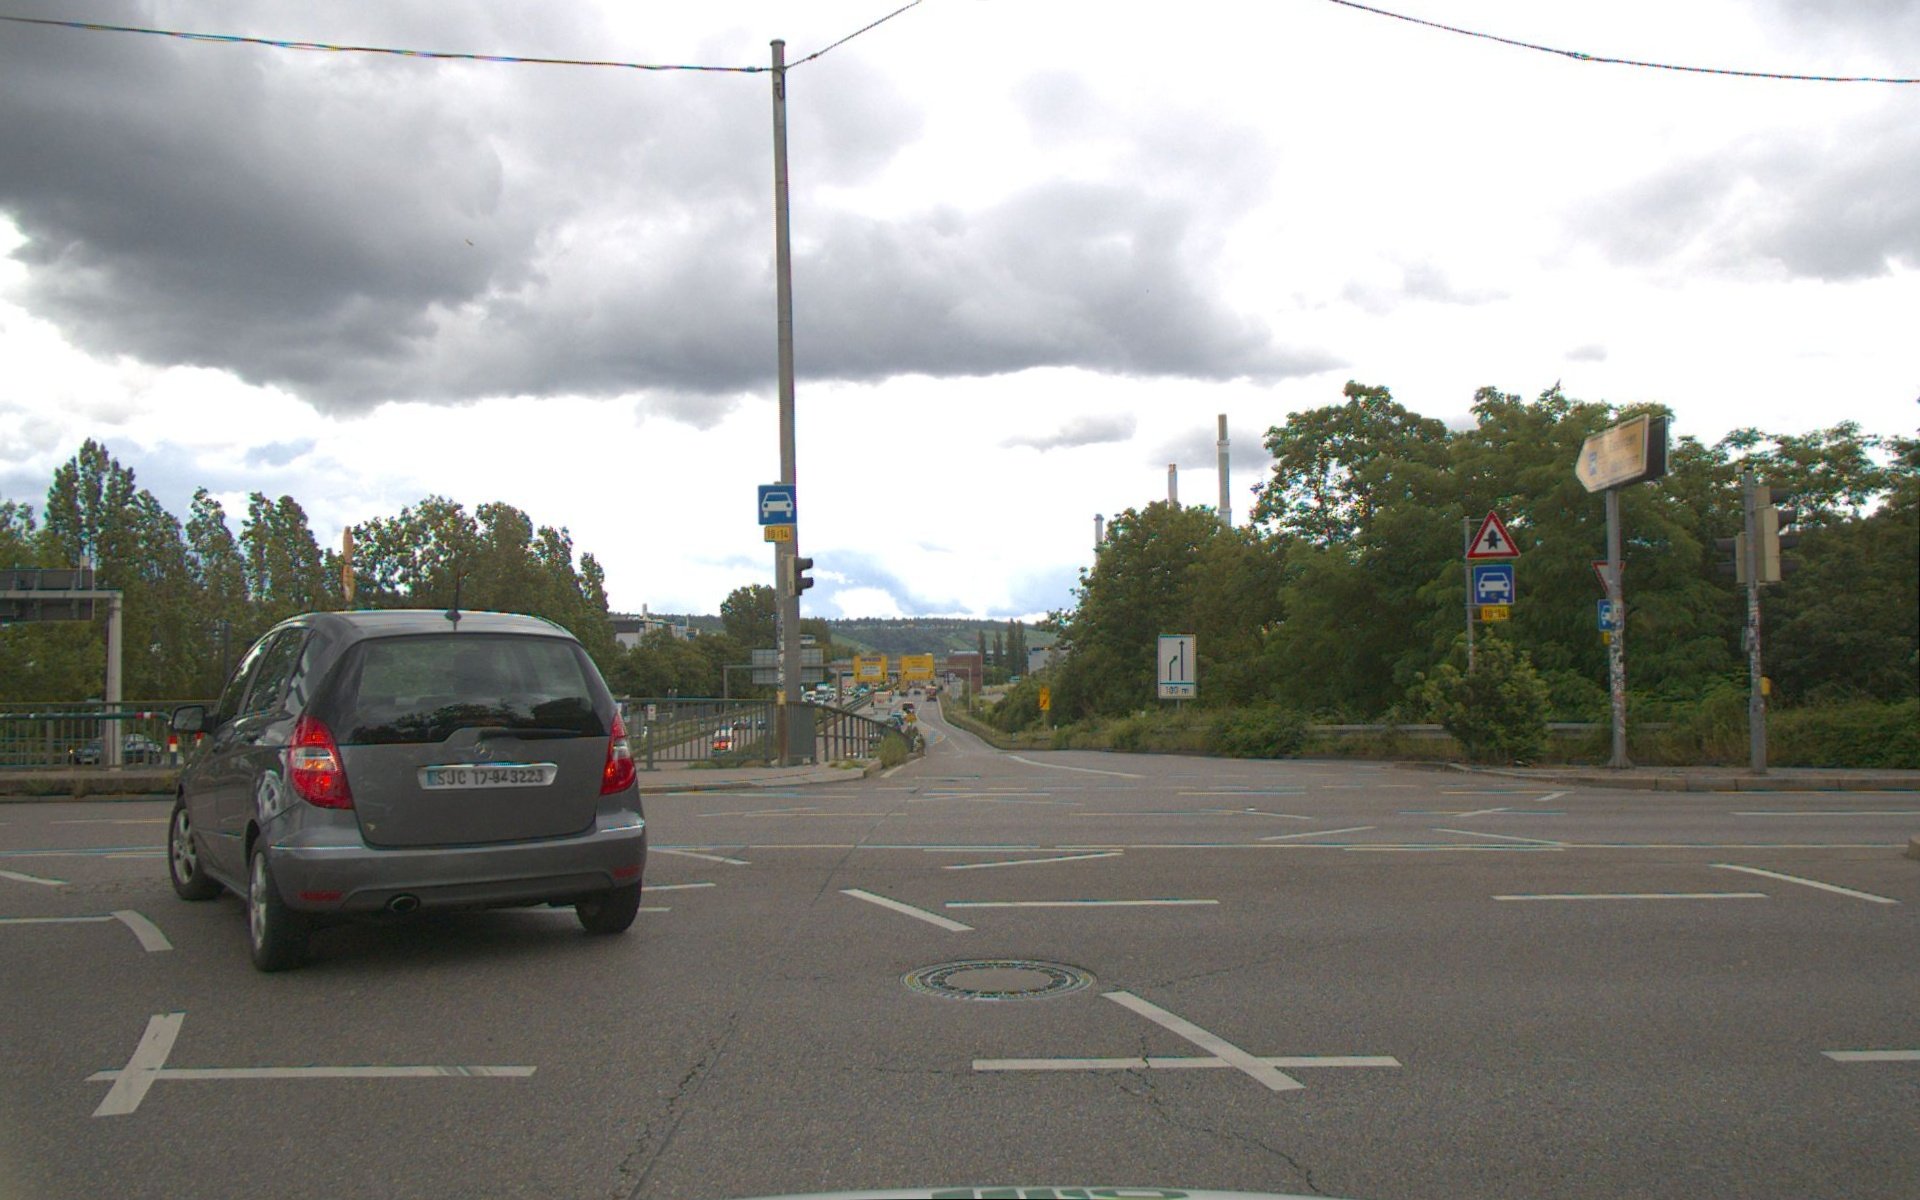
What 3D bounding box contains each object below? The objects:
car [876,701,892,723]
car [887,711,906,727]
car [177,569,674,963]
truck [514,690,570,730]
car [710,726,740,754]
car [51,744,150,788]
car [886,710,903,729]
[{"bbox_3d":[-9.731,14.372,212.602,1.954,2.668,5.394,-2,-4,-3],"label":"car"},{"bbox_3d":[-8.615,16.126,224.180,2.480,1.935,4.878,-2,-4,-3],"label":"car"},{"bbox_3d":[-3.003,0.789,8.757,1.727,1.578,3.830,1,-4,-30],"label":"car"},{"bbox_3d":[-39.368,10.325,156.164,2.716,3.572,9.258,-1,-3,1],"label":"truck"},{"bbox_3d":[-21.140,12.561,148.876,1.953,2.412,4.588,-2,-4,0],"label":"car"},{"bbox_3d":[-35.437,6.847,68.335,1.952,1.646,3.999,-2,-5,1],"label":"car"},{"bbox_3d":[-7.838,14.231,196.818,1.954,2.049,3.997,-2,-4,-3],"label":"car"}]
